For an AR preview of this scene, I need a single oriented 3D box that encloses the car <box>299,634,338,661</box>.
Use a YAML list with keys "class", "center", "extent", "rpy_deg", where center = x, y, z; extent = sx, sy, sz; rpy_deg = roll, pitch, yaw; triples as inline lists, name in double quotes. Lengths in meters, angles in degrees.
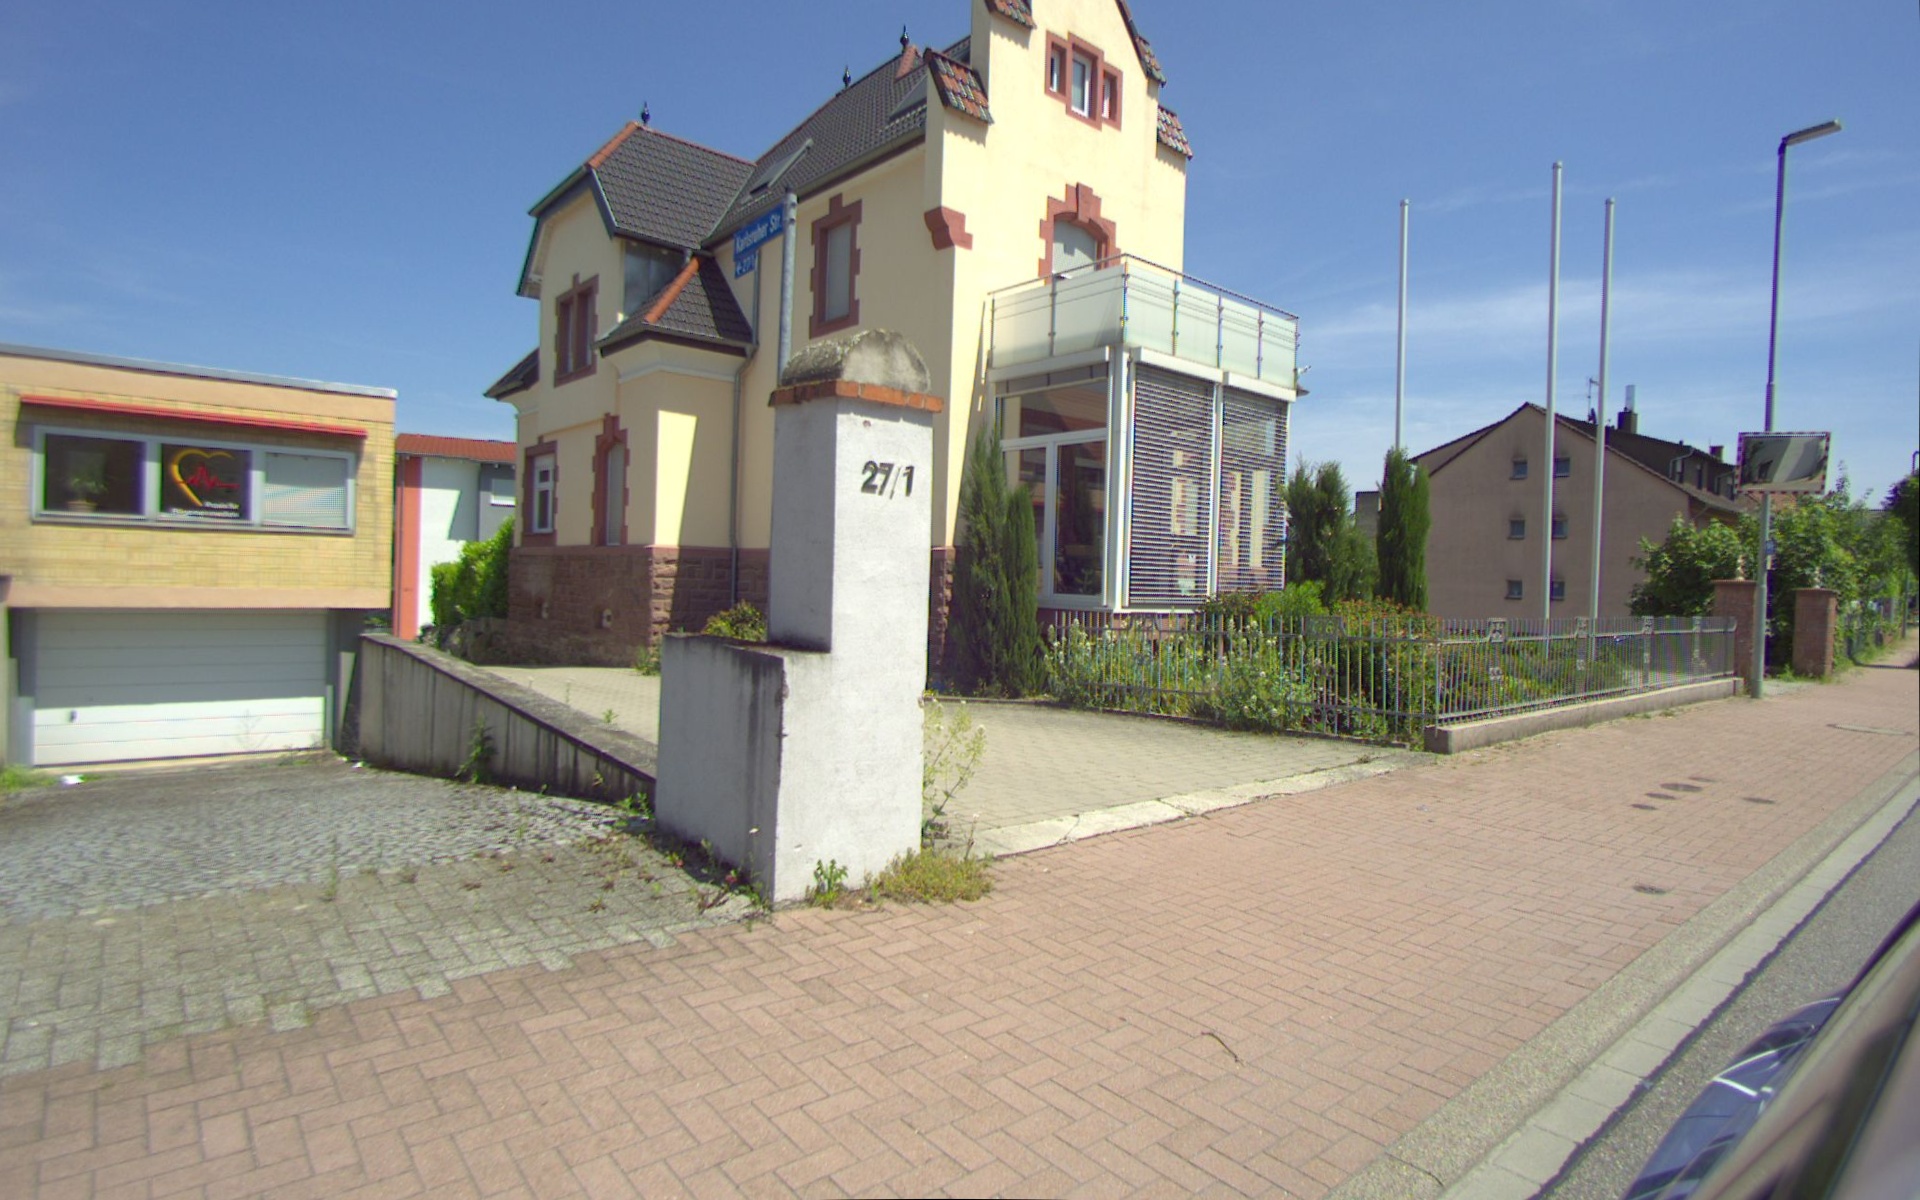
- class: "car"
  center: [-37.562, 2.767, 59.187]
  extent: [1.873, 1.460, 3.928]
  rpy_deg: [0, -1, -33]
